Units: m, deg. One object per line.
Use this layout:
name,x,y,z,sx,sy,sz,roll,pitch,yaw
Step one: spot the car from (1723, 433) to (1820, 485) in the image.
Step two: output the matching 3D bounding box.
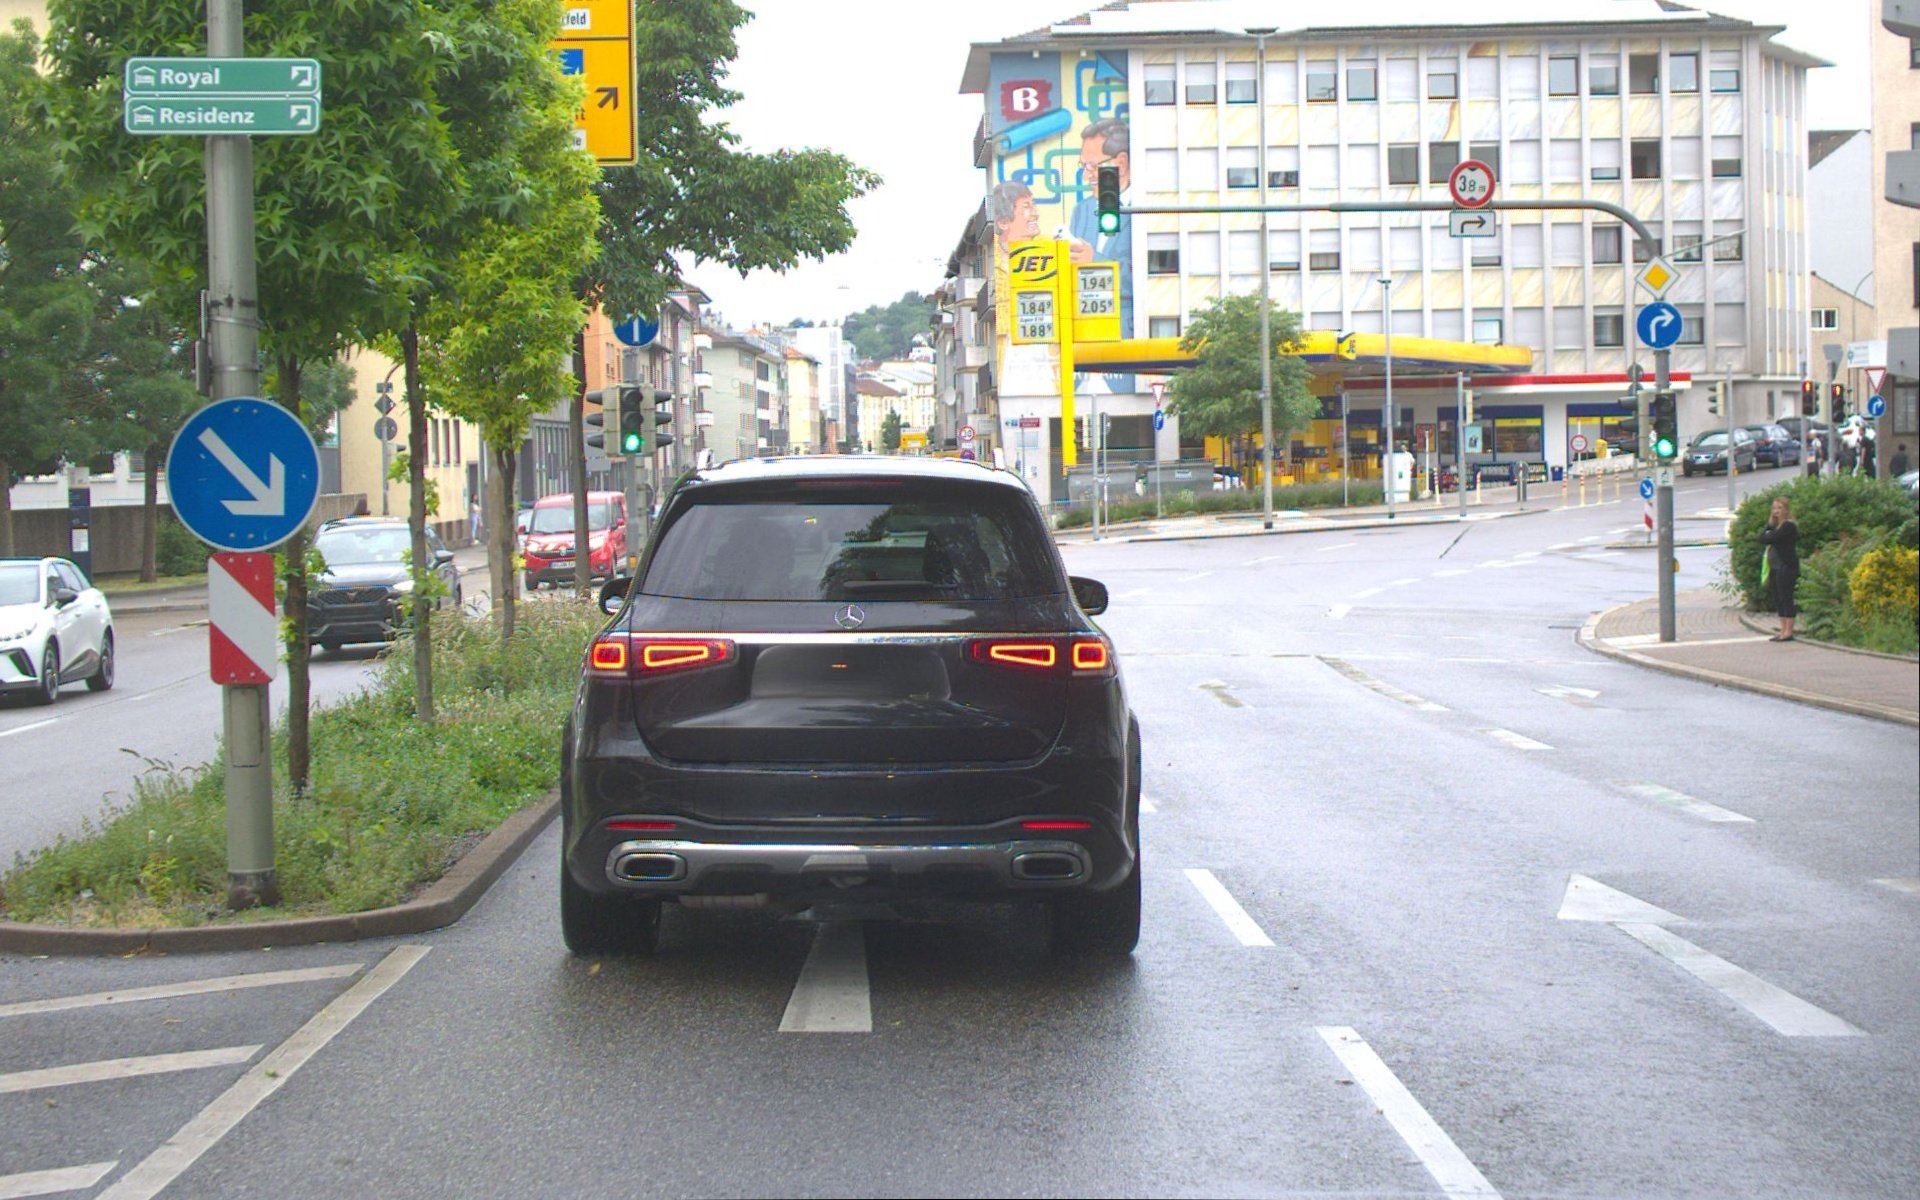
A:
car,28.002,-4.867,118.612,1.997,1.700,3.993,-1,2,33

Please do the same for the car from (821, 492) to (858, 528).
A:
car,-7.051,-5.260,201.535,1.993,2.007,4.000,1,0,0

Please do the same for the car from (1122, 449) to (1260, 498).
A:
car,6.986,-3.823,104.205,1.732,1.371,3.998,-3,2,-44

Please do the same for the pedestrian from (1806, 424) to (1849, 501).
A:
pedestrian,24.279,-3.849,96.240,0.854,2.121,0.948,-2,2,-6

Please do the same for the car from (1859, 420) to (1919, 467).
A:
car,36.287,-6.039,132.485,1.997,1.700,3.993,-1,2,33

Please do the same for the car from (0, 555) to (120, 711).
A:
car,-10.031,0.334,35.710,1.732,1.464,4.232,-3,1,-3

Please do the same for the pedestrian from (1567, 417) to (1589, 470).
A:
pedestrian,20.237,-5.124,112.542,0.526,1.721,0.688,0,2,26

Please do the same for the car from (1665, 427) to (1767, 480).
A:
car,25.144,-4.877,114.334,1.997,1.700,3.993,-1,2,33

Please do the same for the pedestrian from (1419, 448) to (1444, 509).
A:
pedestrian,13.149,-3.386,95.917,0.572,1.691,0.631,1,0,0

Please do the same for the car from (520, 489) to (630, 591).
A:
car,-7.582,-1.201,67.980,1.792,1.847,4.793,-3,1,-3

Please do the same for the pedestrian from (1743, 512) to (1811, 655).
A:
pedestrian,9.788,-0.199,41.183,0.646,1.704,0.470,0,0,36

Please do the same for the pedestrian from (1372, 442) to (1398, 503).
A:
pedestrian,12.041,-3.611,97.360,0.526,1.721,0.688,0,2,26

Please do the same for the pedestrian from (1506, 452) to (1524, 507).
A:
pedestrian,14.358,-3.121,88.956,0.396,1.395,0.446,1,0,0

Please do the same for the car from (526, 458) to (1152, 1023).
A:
car,-0.418,0.440,13.074,1.993,1.794,4.000,1,0,-1

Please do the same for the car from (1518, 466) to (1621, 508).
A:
car,21.922,-4.063,123.629,1.998,1.393,3.991,1,0,38

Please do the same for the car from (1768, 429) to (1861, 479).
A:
car,30.530,-5.223,122.829,1.997,1.700,3.993,-1,2,33

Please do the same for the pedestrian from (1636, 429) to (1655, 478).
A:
pedestrian,22.849,-4.877,114.578,0.484,1.635,0.438,1,0,28

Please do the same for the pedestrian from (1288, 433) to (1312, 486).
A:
pedestrian,11.066,-4.559,111.823,0.527,1.721,0.688,0,2,29

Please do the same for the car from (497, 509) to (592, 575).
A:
car,-10.205,-1.454,84.666,1.846,1.424,4.436,-3,2,-1

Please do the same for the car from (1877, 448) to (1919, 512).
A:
car,23.534,-2.834,79.604,4.184,1.434,1.858,-1,2,6

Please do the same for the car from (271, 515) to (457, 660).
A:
car,-7.369,-0.198,42.869,1.732,1.620,4.232,-3,1,-3

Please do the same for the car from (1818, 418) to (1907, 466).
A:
car,33.597,-5.865,127.899,1.997,1.700,3.993,-1,2,33

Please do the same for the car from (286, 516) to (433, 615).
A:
car,-10.520,-0.634,60.488,1.888,1.581,4.537,-3,1,-2

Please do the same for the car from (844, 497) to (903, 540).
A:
car,-3.289,-3.099,131.023,1.993,1.542,4.189,1,0,2

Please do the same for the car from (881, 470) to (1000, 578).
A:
car,-0.364,-1.307,60.391,1.993,1.794,4.000,1,0,-1

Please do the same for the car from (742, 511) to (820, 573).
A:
car,-4.787,-1.543,92.452,1.993,1.609,4.190,1,0,-2
